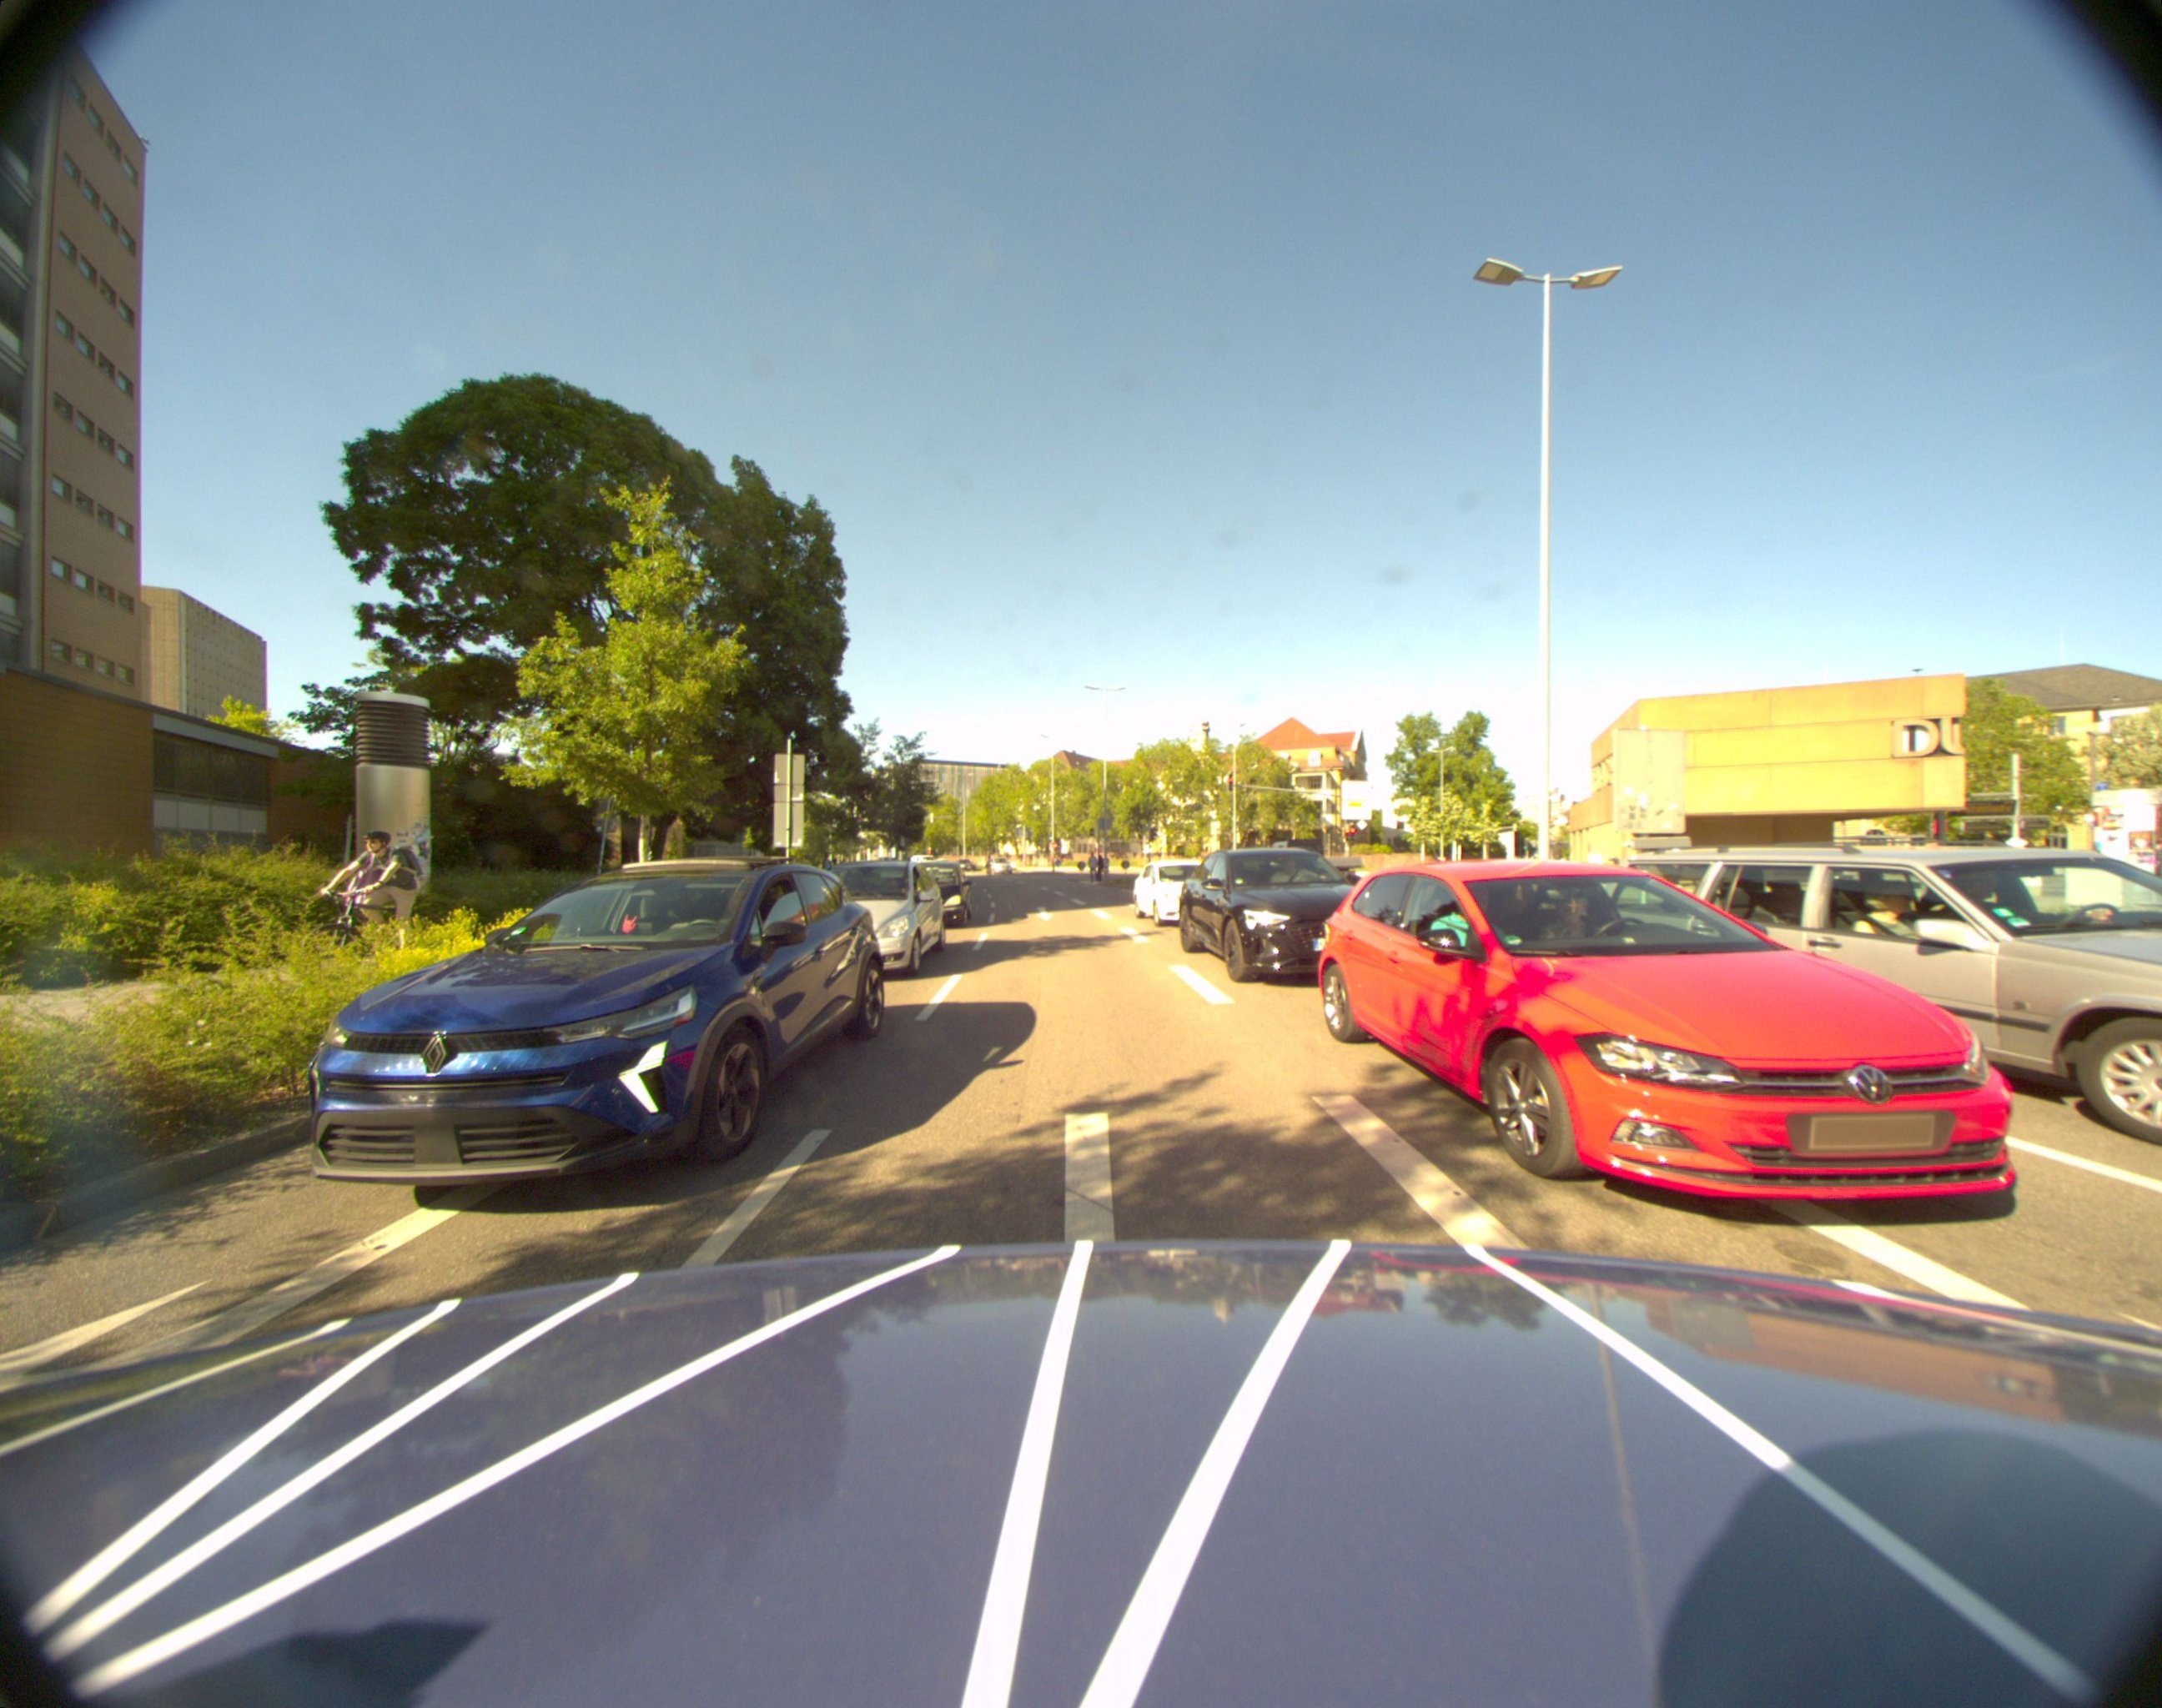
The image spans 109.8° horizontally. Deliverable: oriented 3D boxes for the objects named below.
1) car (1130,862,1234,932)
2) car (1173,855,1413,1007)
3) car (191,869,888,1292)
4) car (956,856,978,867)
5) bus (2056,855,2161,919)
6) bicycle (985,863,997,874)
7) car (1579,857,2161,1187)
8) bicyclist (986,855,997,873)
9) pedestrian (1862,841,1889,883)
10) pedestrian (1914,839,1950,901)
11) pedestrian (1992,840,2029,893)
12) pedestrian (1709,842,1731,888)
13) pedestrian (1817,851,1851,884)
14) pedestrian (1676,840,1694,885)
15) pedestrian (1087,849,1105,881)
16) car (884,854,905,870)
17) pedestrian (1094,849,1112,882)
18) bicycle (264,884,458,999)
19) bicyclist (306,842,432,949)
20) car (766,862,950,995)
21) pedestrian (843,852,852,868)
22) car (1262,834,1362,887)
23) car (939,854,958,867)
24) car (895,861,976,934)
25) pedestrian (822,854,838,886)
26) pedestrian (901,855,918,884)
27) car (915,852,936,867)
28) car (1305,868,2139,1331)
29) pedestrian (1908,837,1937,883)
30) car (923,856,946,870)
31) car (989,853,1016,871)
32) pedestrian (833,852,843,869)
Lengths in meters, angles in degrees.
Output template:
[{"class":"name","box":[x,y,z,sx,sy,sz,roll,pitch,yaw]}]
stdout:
[{"class":"car","box":[2.256,0.922,17.835,1.575,1.410,3.711,-1,0,-6]},{"class":"car","box":[2.559,0.833,10.398,1.859,1.606,4.452,0,0,-3]},{"class":"car","box":[-2.685,0.947,5.085,1.705,1.596,4.084,-1,0,0]},{"class":"car","box":[-13.068,0.888,86.934,1.587,1.197,3.992,0,0,-23]},{"class":"bus","box":[21.673,0.635,14.101,1.646,1.234,4.181,0,0,-5]},{"class":"bicycle","box":[-7.899,1.268,66.797,0.591,0.884,1.651,-2,0,-24]},{"class":"car","box":[5.757,0.784,4.971,1.713,1.464,4.751,-2,0,-2]},{"class":"bicyclist","box":[-7.894,0.837,66.743,0.696,1.549,0.814,-2,1,-24]},{"class":"pedestrian","box":[33.237,0.332,31.781,0.645,1.766,0.468,-1,1,-4]},{"class":"pedestrian","box":[24.832,0.466,22.164,0.647,1.778,0.666,-3,1,-41]},{"class":"pedestrian","box":[31.432,0.416,25.701,0.644,1.766,0.469,0,1,21]},{"class":"pedestrian","box":[24.554,0.415,29.194,0.644,1.766,0.618,0,1,42]},{"class":"pedestrian","box":[30.173,0.555,30.463,0.645,1.303,0.763,-1,0,10]},{"class":"pedestrian","box":[24.064,0.349,30.286,0.467,1.766,0.647,0,1,29]},{"class":"pedestrian","box":[0.875,0.626,44.510,0.887,1.814,0.776,-2,1,-7]},{"class":"car","box":[-21.312,0.894,86.630,1.830,1.842,3.745,0,0,-21]},{"class":"pedestrian","box":[1.225,0.639,43.209,0.757,1.814,0.775,-2,1,-18]},{"class":"bicycle","box":[-8.873,1.026,9.488,0.692,1.211,1.834,2,0,-1]},{"class":"bicyclist","box":[-8.915,0.497,9.555,0.722,1.271,0.907,2,0,-3]},{"class":"car","box":[-3.143,0.959,11.566,1.786,1.615,4.042,0,0,-3]},{"class":"pedestrian","box":[-27.285,0.695,88.849,0.823,1.906,0.770,-2,1,-29]},{"class":"car","box":[11.062,0.299,37.045,2.117,2.300,6.209,-1,0,-10]},{"class":"car","box":[-16.914,0.863,96.713,1.598,1.596,3.066,-1,0,-26]},{"class":"car","box":[-3.512,0.987,18.860,1.651,1.601,3.488,0,0,-6]},{"class":"pedestrian","box":[-12.481,0.780,37.736,0.693,1.594,0.661,0,0,-14]},{"class":"pedestrian","box":[-9.422,0.859,41.759,0.694,1.594,0.660,-1,0,-37]},{"class":"car","box":[-21.554,0.786,105.260,1.790,2.002,4.223,-2,1,-26]},{"class":"car","box":[2.774,0.876,4.530,1.674,1.464,3.853,-2,0,-1]},{"class":"pedestrian","box":[33.025,0.228,29.809,0.645,1.766,0.468,-1,1,-4]},{"class":"car","box":[-15.799,0.962,81.920,1.754,1.370,3.568,-1,0,-21]},{"class":"car","box":[-7.663,0.757,73.858,1.527,1.669,3.374,-2,0,-24]},{"class":"pedestrian","box":[-28.378,0.735,88.709,0.823,1.906,0.770,-2,1,-29]}]
